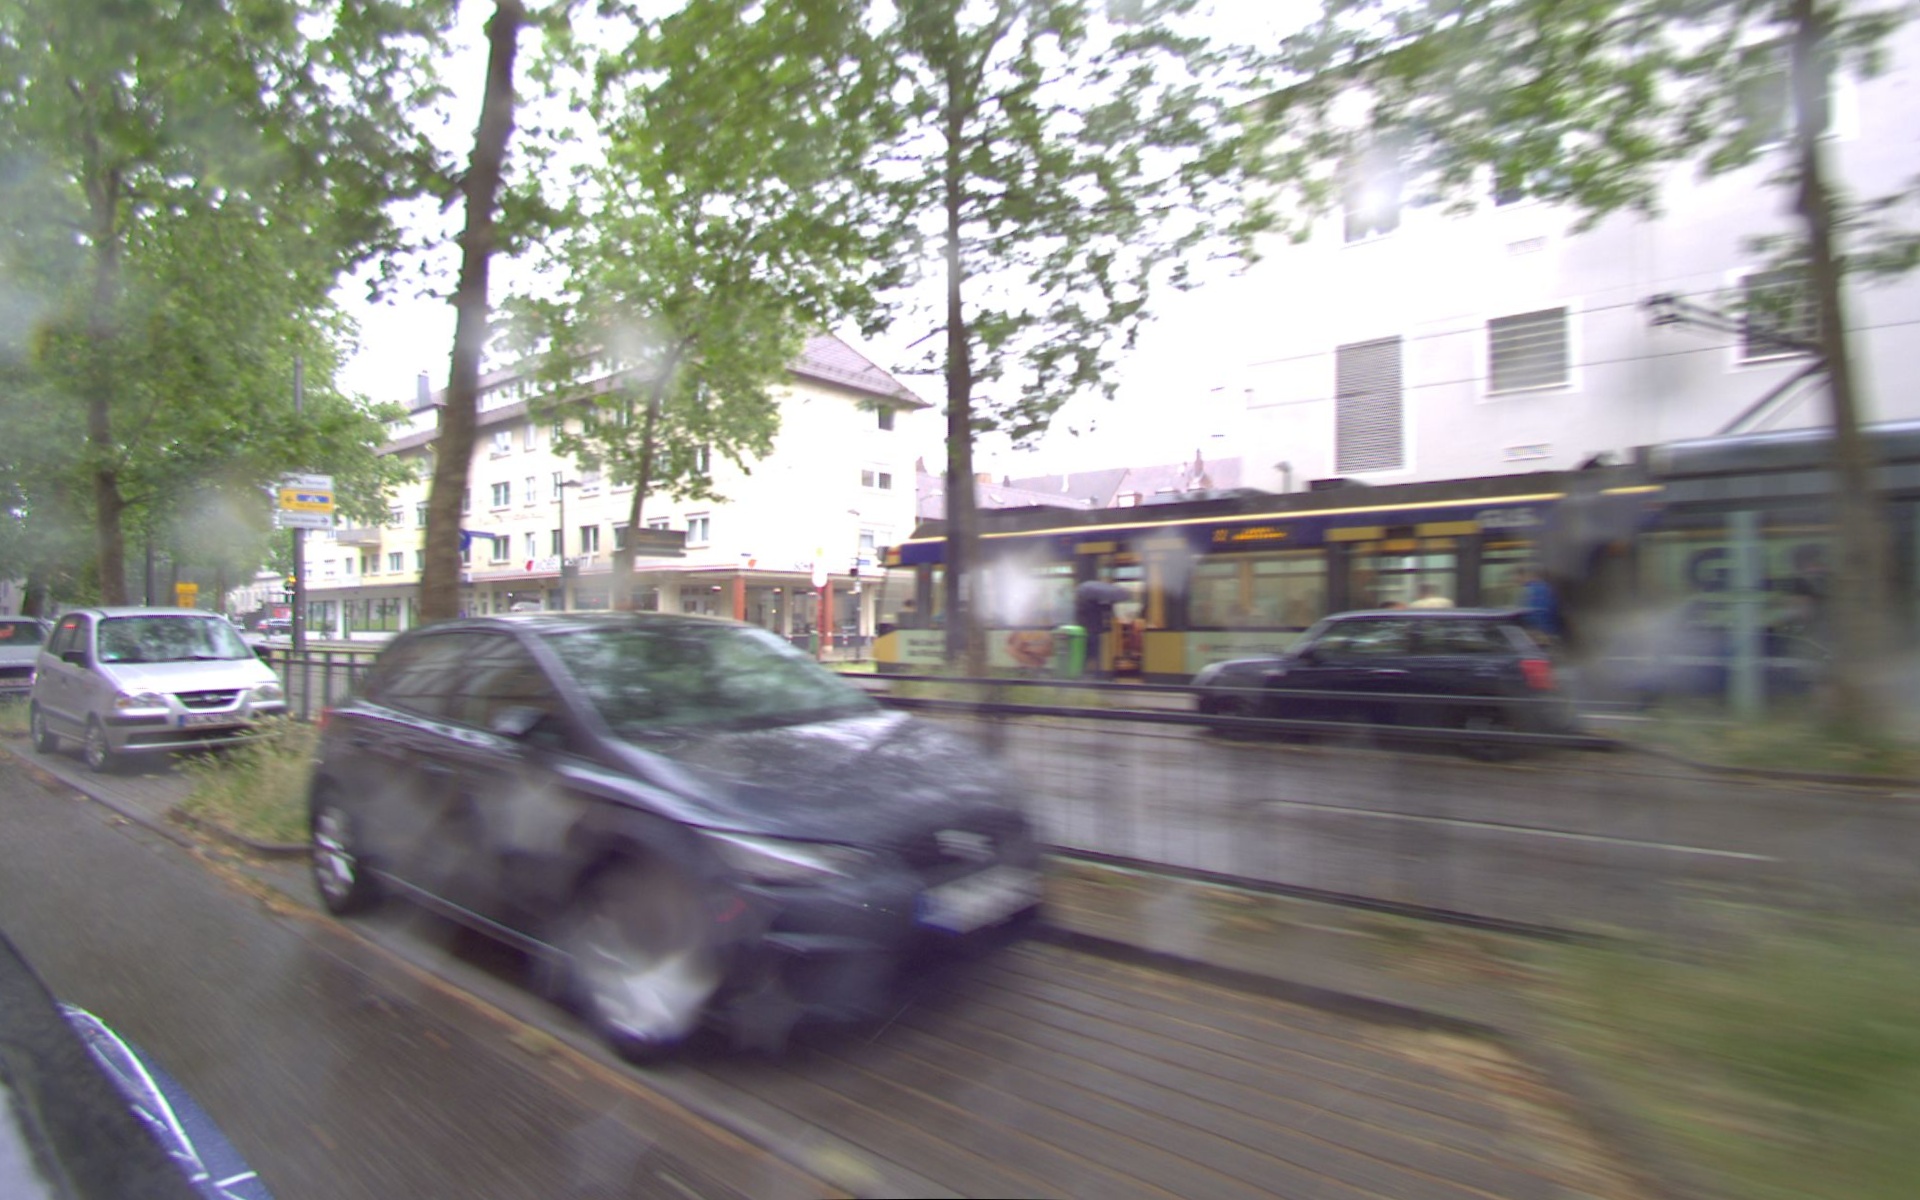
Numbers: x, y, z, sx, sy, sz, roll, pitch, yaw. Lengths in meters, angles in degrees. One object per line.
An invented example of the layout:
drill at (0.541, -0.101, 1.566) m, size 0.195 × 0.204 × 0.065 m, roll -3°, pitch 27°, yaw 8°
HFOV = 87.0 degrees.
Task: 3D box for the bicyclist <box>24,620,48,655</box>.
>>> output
bicyclist at (-46.960, 1.900, 51.442) m, size 0.888 × 1.729 × 0.705 m, roll 0°, pitch -1°, yaw 37°

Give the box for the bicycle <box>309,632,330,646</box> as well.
bicycle at (-42.729, 2.587, 67.492) m, size 2.045 × 0.903 × 0.605 m, roll -1°, pitch -2°, yaw 41°

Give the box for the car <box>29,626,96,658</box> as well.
car at (-41.066, 1.904, 46.265) m, size 4.127 × 1.408 × 1.723 m, roll -1°, pitch -2°, yaw 40°

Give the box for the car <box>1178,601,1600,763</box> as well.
car at (4.407, 0.753, 10.650) m, size 3.751 × 1.353 × 1.722 m, roll -2°, pitch 1°, yaw 39°

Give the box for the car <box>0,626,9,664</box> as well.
car at (-40.242, 1.833, 41.231) m, size 4.428 × 1.491 × 1.723 m, roll -1°, pitch -2°, yaw 40°

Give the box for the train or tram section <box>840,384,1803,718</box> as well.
train or tram section at (4.295, -0.547, 16.626) m, size 14.561 × 3.585 × 3.075 m, roll 1°, pitch -1°, yaw 39°

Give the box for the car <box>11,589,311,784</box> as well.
car at (-8.407, 0.810, 10.558) m, size 3.653 × 1.694 × 1.609 m, roll -2°, pitch -2°, yaw 37°

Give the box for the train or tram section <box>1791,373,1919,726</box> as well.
train or tram section at (15.622, -0.432, 7.427) m, size 14.661 × 3.585 × 3.075 m, roll 1°, pitch -1°, yaw 39°

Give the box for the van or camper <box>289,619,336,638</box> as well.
van or camper at (-78.524, 3.460, 122.753) m, size 4.582 × 2.091 × 2.003 m, roll 3°, pitch -3°, yaw -41°

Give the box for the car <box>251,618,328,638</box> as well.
car at (-57.579, 2.395, 87.006) m, size 1.939 × 1.604 × 5.286 m, roll -1°, pitch -2°, yaw 28°

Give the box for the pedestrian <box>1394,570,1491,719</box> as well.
pedestrian at (5.845, 0.526, 12.253) m, size 0.871 × 1.717 × 0.810 m, roll -2°, pitch -2°, yaw 39°

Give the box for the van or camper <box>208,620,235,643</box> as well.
van or camper at (-85.558, 3.642, 117.331) m, size 2.145 × 2.490 × 5.987 m, roll 1°, pitch -1°, yaw -33°

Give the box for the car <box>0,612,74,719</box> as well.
car at (-16.379, 1.039, 17.006) m, size 4.353 × 1.648 × 1.680 m, roll -1°, pitch -2°, yaw 42°

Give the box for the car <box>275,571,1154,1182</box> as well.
car at (-1.380, 0.699, 4.460) m, size 4.115 × 1.512 × 1.632 m, roll -1°, pitch 0°, yaw 40°

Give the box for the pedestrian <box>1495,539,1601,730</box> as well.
pedestrian at (6.599, 0.379, 11.356) m, size 0.820 × 2.029 × 0.860 m, roll -2°, pitch -2°, yaw 43°

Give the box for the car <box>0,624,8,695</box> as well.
car at (-22.935, 1.310, 22.638) m, size 4.609 × 1.515 × 1.810 m, roll -1°, pitch -1°, yaw 39°

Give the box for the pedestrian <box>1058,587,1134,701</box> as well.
pedestrian at (2.133, 0.683, 15.844) m, size 0.871 × 1.717 × 0.810 m, roll -2°, pitch -2°, yaw 39°
